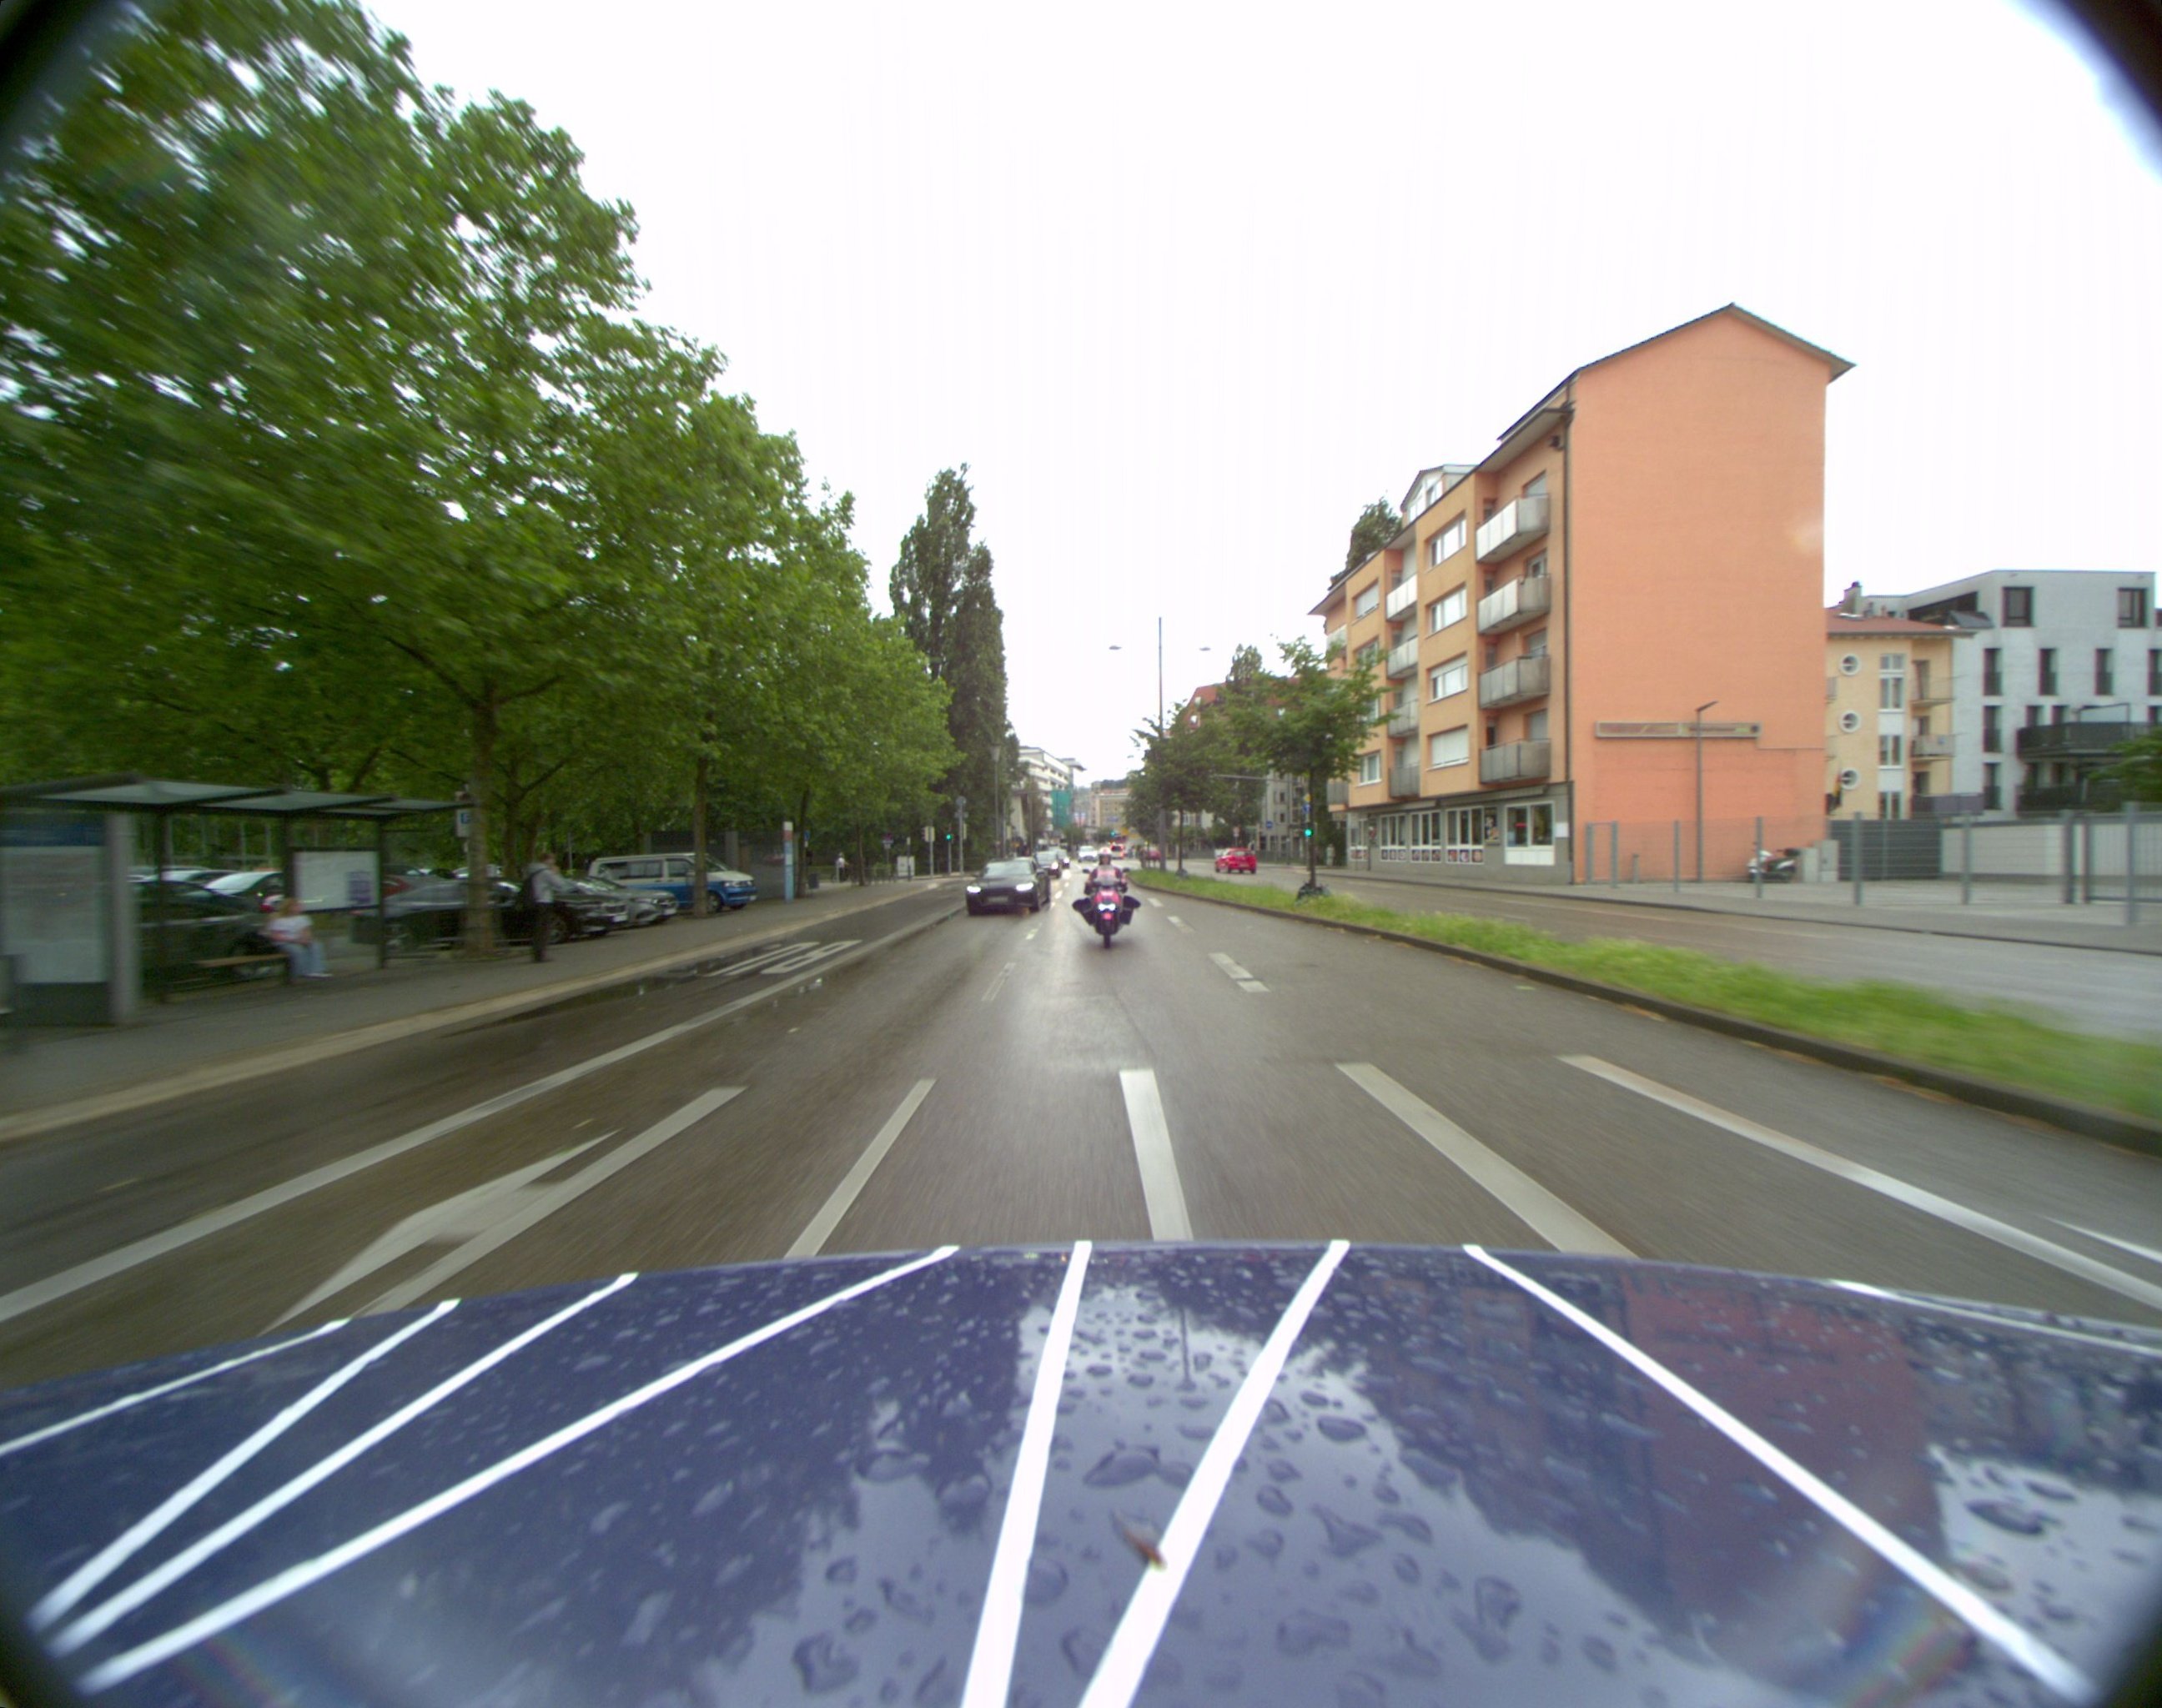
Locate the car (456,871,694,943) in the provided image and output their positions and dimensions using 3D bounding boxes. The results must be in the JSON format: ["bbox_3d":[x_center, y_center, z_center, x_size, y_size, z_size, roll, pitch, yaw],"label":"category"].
[{"bbox_3d":[-12.778,1.309,19.392,4.750,1.397,1.862,-4,1,1],"label":"car"}]

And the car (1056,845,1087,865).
[{"bbox_3d":[-0.780,0.074,59.142,1.898,1.412,4.358,1,0,-7],"label":"car"}]

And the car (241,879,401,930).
[{"bbox_3d":[-23.838,1.542,24.046,1.532,1.418,3.835,0,-1,-7],"label":"car"}]

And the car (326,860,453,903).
[{"bbox_3d":[-31.450,1.201,34.782,1.781,1.678,4.443,-2,1,-2],"label":"car"}]

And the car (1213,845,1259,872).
[{"bbox_3d":[9.039,0.226,44.677,1.608,1.422,3.943,1,1,-5],"label":"car"}]

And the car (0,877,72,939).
[{"bbox_3d":[-28.282,1.368,18.636,1.616,1.555,4.054,0,-1,2],"label":"car"}]

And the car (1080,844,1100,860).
[{"bbox_3d":[0.858,-0.178,75.479,1.897,1.566,4.360,1,0,-1],"label":"car"}]

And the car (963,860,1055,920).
[{"bbox_3d":[-1.953,0.963,22.035,1.896,1.396,4.362,-3,0,4],"label":"car"}]

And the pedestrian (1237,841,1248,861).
[{"bbox_3d":[13.810,-0.263,64.972,0.767,1.685,0.799,-1,1,-5],"label":"pedestrian"}]

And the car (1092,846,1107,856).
[{"bbox_3d":[2.564,-0.440,106.003,1.670,1.456,3.253,-1,1,-4],"label":"car"}]

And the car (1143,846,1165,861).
[{"bbox_3d":[7.059,-0.041,74.189,1.571,1.385,3.832,1,1,-3],"label":"car"}]

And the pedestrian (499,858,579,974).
[{"bbox_3d":[-9.005,1.007,12.634,0.732,1.831,0.759,-1,2,28],"label":"pedestrian"}]

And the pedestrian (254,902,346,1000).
[{"bbox_3d":[-11.239,1.381,10.946,0.632,1.314,0.626,-2,2,12],"label":"pedestrian"}]

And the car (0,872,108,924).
[{"bbox_3d":[-34.260,1.375,24.347,1.531,1.583,3.610,0,-1,-2],"label":"car"}]

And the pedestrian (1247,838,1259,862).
[{"bbox_3d":[13.872,-0.315,61.183,0.746,1.876,0.799,-1,1,-5],"label":"pedestrian"}]

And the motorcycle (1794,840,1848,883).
[{"bbox_3d":[25.710,0.268,26.404,1.467,1.454,0.397,1,2,-2],"label":"motorcycle"}]

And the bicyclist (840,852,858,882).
[{"bbox_3d":[-14.266,0.797,46.720,0.988,1.760,0.795,-2,2,-18],"label":"bicyclist"}]

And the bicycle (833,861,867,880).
[{"bbox_3d":[-14.233,1.038,46.775,1.935,1.088,0.649,-2,2,-18],"label":"bicycle"}]

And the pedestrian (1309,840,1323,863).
[{"bbox_3d":[17.163,-0.177,55.512,0.748,1.681,0.681,-1,1,-34],"label":"pedestrian"}]

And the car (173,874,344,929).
[{"bbox_3d":[-26.019,1.458,24.233,1.571,1.583,3.611,0,-1,-1],"label":"car"}]

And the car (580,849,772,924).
[{"bbox_3d":[-12.638,0.968,23.929,4.847,1.931,1.950,-4,1,1],"label":"car"}]

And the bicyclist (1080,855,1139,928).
[{"bbox_3d":[0.488,0.654,13.358,0.963,1.218,0.715,-2,-2,1],"label":"bicyclist"}]

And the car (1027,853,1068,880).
[{"bbox_3d":[-1.829,0.665,42.674,1.896,1.391,4.361,1,0,2],"label":"car"}]

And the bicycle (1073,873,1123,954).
[{"bbox_3d":[0.273,1.014,13.624,0.717,1.297,2.427,1,-2,-3],"label":"bicycle"}]

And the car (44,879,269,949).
[{"bbox_3d":[-23.227,1.442,19.293,1.640,1.414,3.353,-1,1,-4],"label":"car"}]

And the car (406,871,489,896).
[{"bbox_3d":[-39.863,1.825,47.850,3.827,1.455,1.466,-1,1,-5],"label":"car"}]

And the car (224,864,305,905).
[{"bbox_3d":[-35.096,1.265,32.639,3.988,1.573,1.757,0,1,34],"label":"car"}]

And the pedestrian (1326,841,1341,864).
[{"bbox_3d":[18.163,-0.094,54.668,0.684,1.639,0.744,-2,1,-39],"label":"pedestrian"}]

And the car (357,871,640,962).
[{"bbox_3d":[-12.255,1.275,16.260,4.413,1.476,1.862,-3,1,-4],"label":"car"}]

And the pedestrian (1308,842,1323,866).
[{"bbox_3d":[14.399,0.021,46.664,0.561,1.433,0.608,-5,1,-22],"label":"pedestrian"}]

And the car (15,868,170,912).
[{"bbox_3d":[-43.751,1.539,33.776,1.781,1.678,3.880,-2,1,-2],"label":"car"}]
